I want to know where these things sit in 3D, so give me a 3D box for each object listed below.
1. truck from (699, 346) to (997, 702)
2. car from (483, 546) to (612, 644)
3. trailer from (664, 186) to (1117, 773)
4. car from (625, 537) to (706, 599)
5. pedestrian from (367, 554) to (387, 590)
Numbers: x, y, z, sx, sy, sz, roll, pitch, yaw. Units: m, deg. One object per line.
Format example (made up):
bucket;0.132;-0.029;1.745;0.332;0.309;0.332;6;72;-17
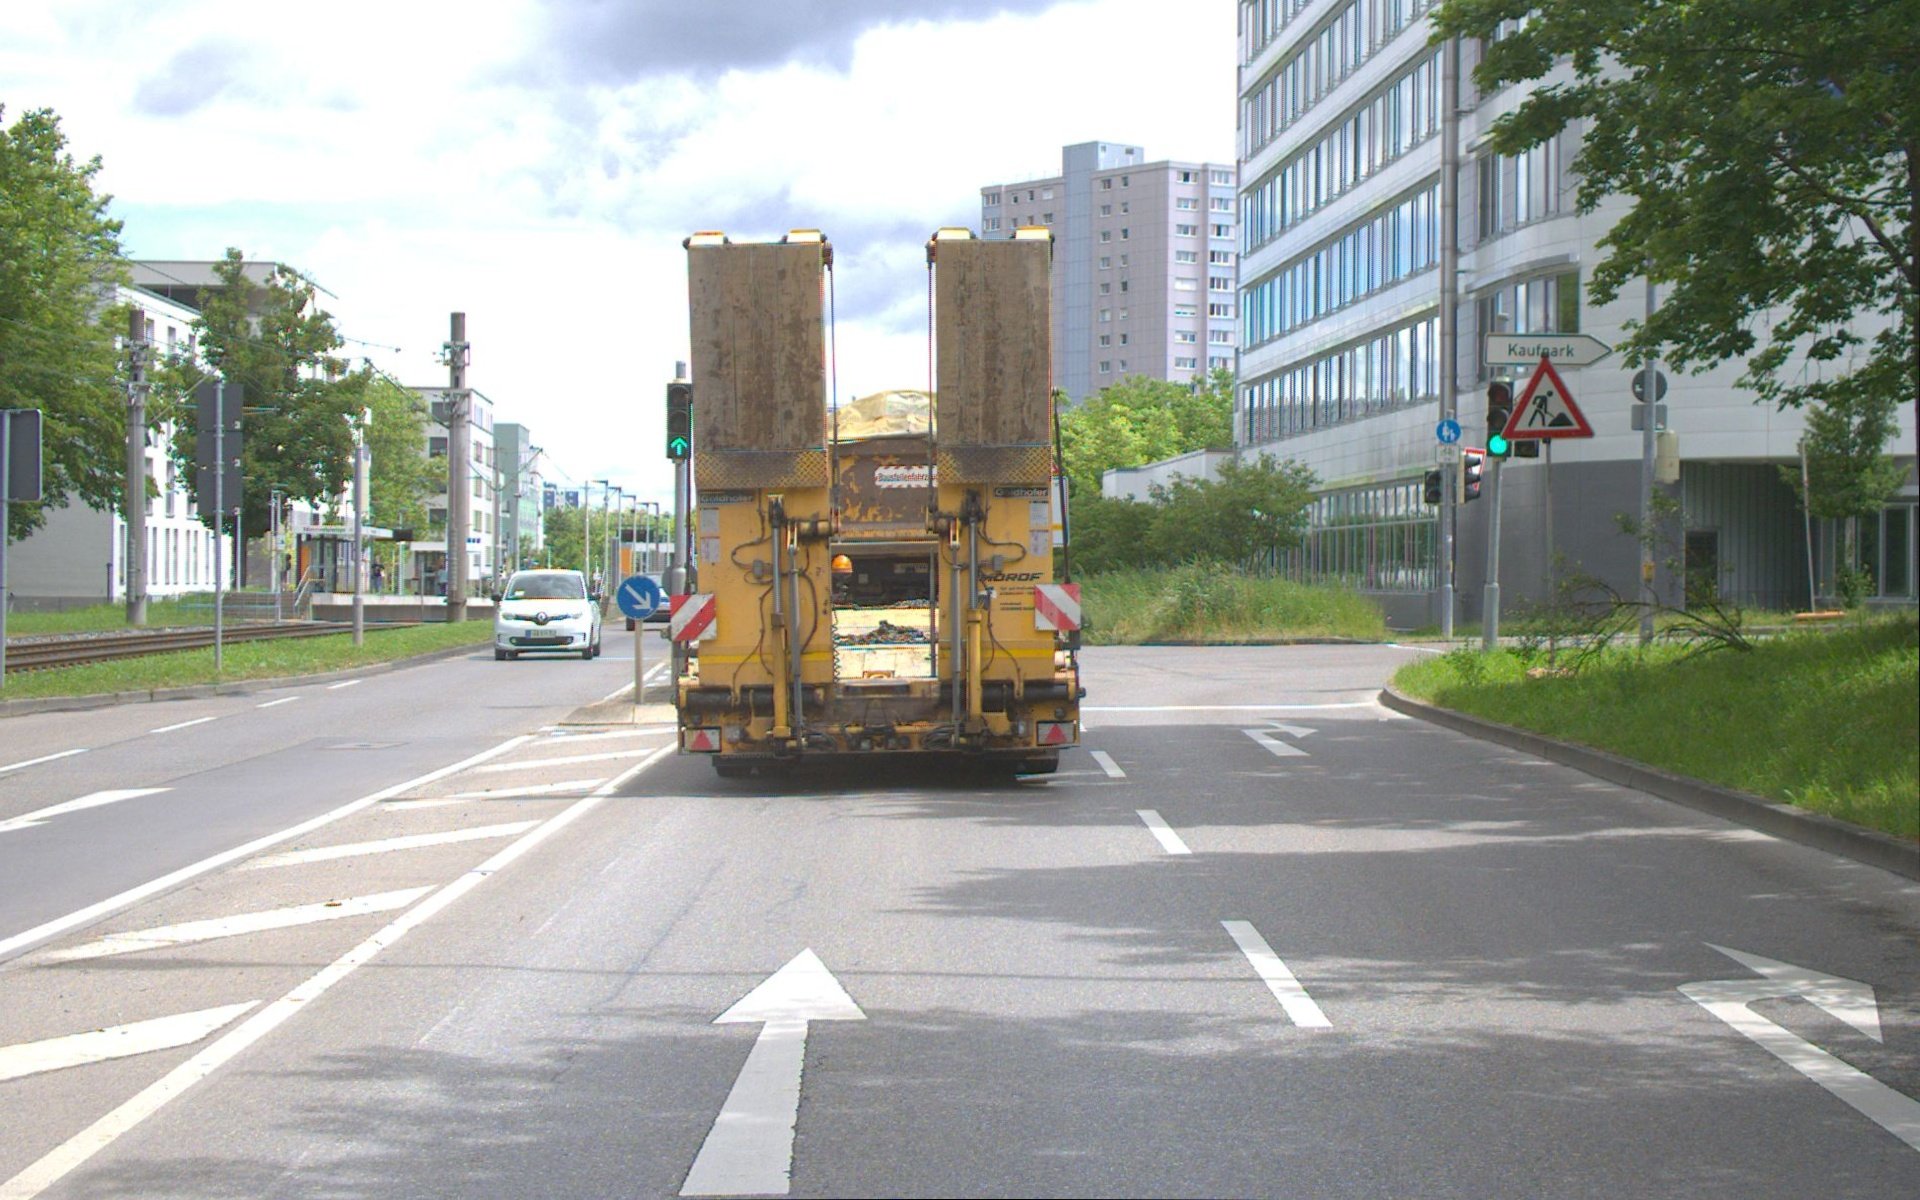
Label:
truck;-1.210;-0.697;36.355;2.753;3.302;8.352;1;0;-2
car;-7.097;-0.075;59.501;1.728;1.607;4.263;1;0;0
trailer;-0.720;-0.714;26.587;2.729;3.547;11.254;1;0;-3
car;-8.151;-0.913;95.551;1.860;1.604;4.608;0;2;0
pedestrian;-24.801;-1.196;146.246;0.741;1.526;0.547;1;0;1
